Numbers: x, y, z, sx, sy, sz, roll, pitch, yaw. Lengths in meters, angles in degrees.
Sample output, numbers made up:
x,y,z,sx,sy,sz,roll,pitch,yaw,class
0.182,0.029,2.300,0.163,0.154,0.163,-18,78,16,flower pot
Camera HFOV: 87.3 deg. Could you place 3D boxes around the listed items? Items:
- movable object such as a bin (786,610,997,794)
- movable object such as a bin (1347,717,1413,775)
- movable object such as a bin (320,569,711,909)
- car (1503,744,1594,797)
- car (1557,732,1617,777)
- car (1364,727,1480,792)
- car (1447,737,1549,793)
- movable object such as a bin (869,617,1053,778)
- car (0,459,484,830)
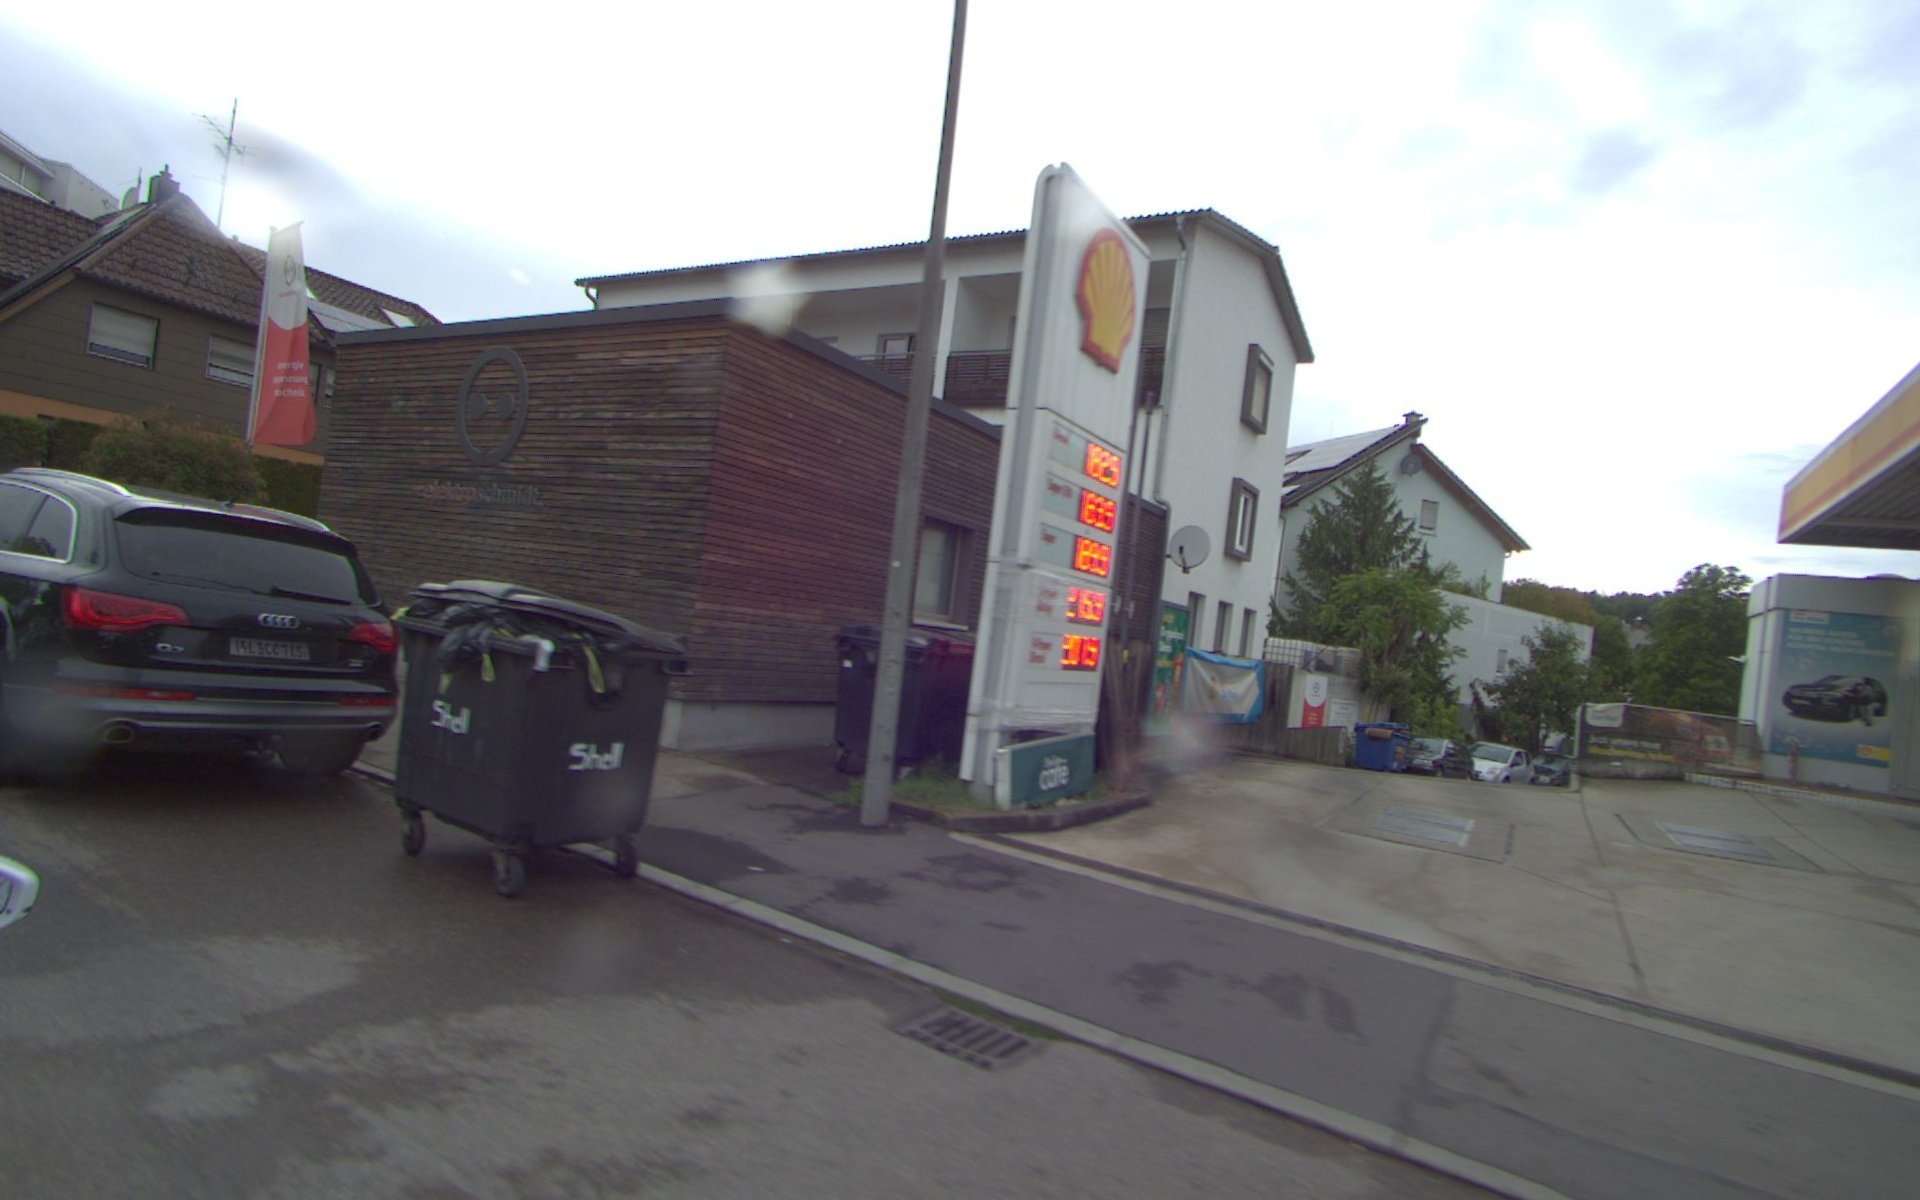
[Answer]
x,y,z,sx,sy,sz,roll,pitch,yaw,class
-0.595,0.874,8.970,1.361,1.356,1.104,7,0,30,movable object such as a bin
10.705,3.691,25.634,1.067,1.256,1.210,7,1,43,movable object such as a bin
-2.352,0.659,5.378,1.478,1.405,1.128,7,0,30,movable object such as a bin
20.038,5.746,34.222,3.560,1.393,1.657,7,0,-44,car
24.081,5.888,38.603,1.584,1.304,3.294,7,0,36,car
12.894,4.369,27.997,1.656,1.393,3.817,7,0,44,car
17.060,5.172,31.855,3.815,1.393,1.657,7,0,-44,car
0.021,0.960,10.209,1.361,1.356,1.104,7,0,30,movable object such as a bin
-5.581,0.074,6.700,4.483,1.681,2.095,8,-1,32,car
